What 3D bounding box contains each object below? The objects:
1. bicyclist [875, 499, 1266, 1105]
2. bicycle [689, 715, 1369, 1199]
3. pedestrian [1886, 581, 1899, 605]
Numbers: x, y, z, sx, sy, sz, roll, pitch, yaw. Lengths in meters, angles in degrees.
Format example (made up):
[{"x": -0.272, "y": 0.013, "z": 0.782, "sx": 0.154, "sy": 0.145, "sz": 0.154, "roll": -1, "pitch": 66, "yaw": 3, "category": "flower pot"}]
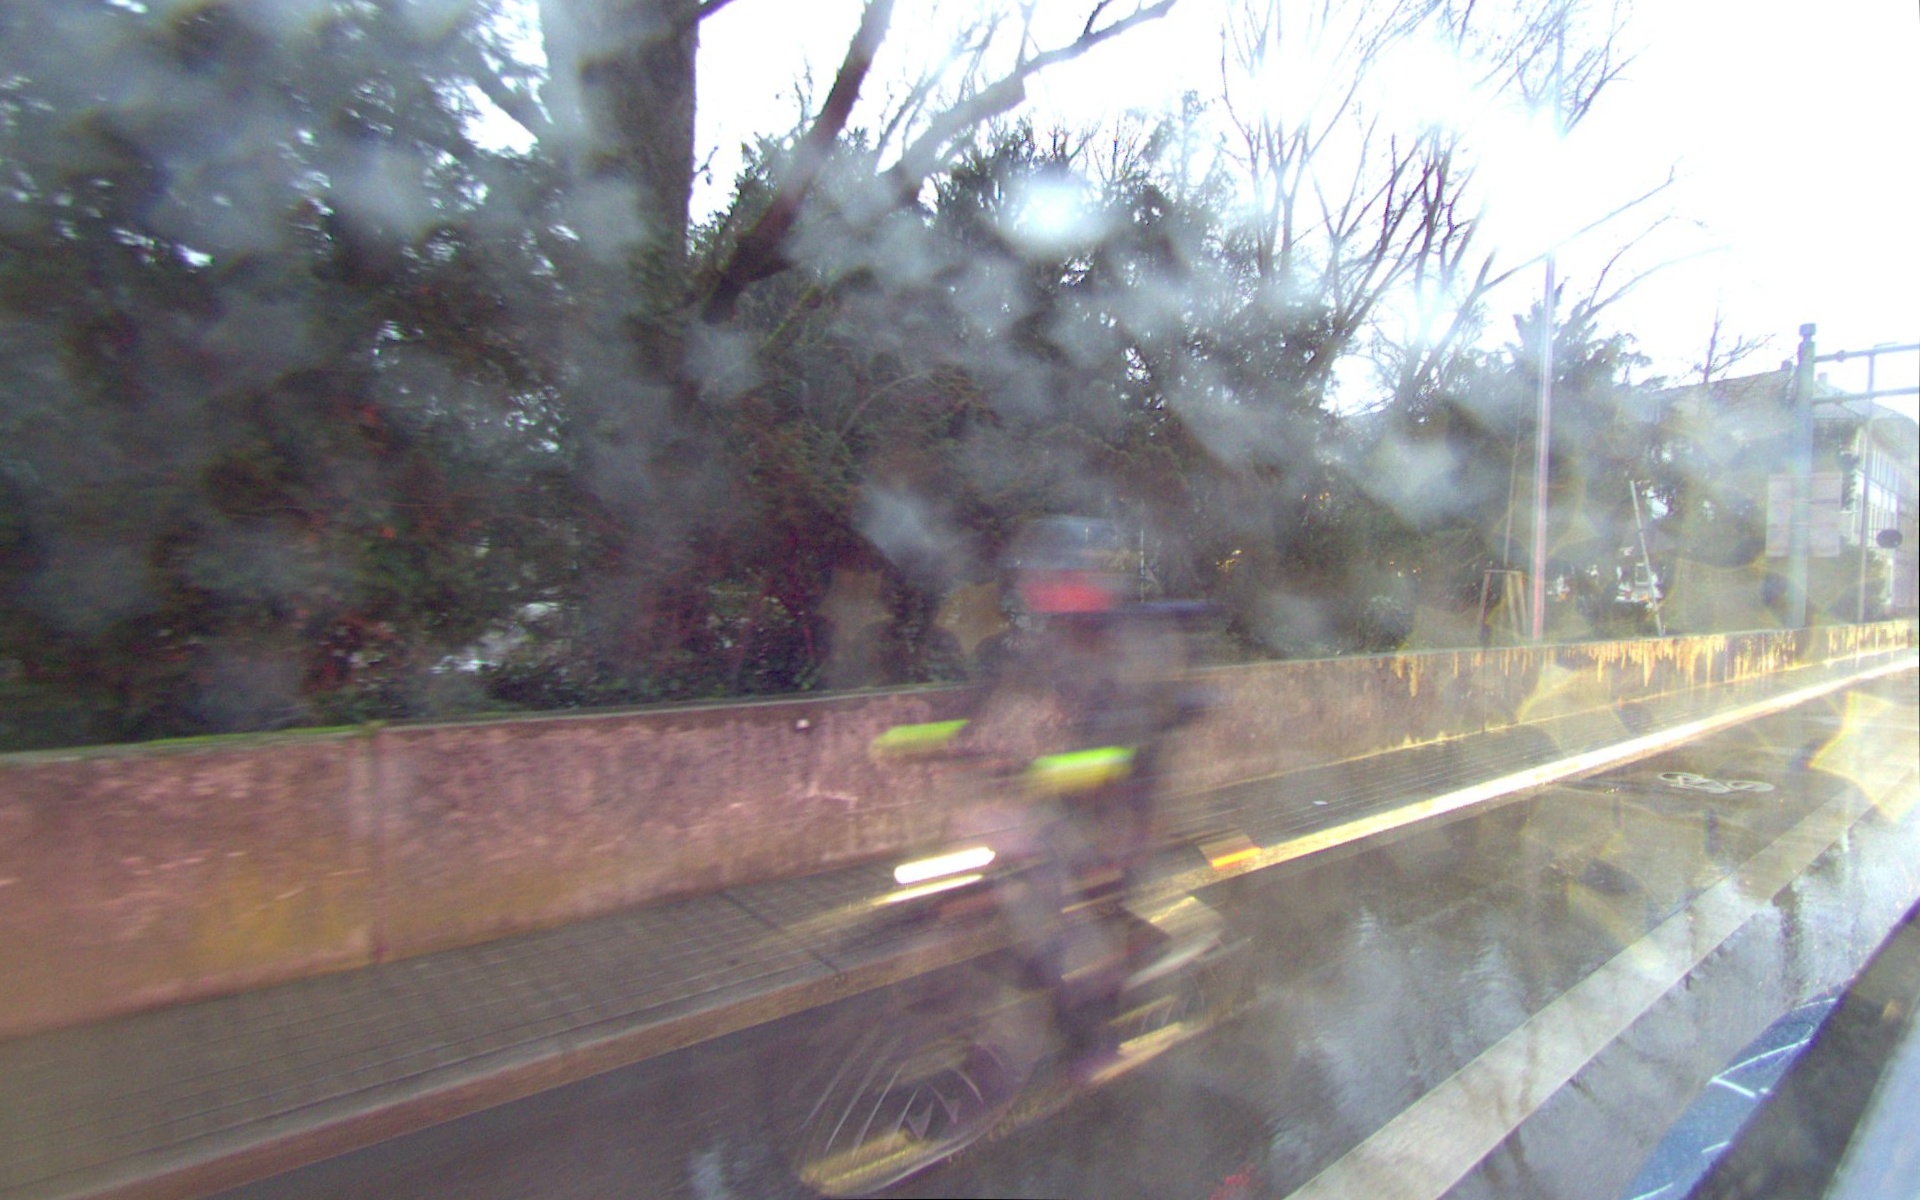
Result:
[{"x": 0.314, "y": 0.460, "z": 2.871, "sx": 0.874, "sy": 1.406, "sz": 0.647, "roll": 0, "pitch": 1, "yaw": -38, "category": "bicyclist"}, {"x": 0.318, "y": 0.927, "z": 2.884, "sx": 2.009, "sy": 0.978, "sz": 0.647, "roll": 0, "pitch": 2, "yaw": -38, "category": "bicycle"}, {"x": 60.684, "y": -0.447, "z": 65.871, "sx": 0.577, "sy": 1.529, "sz": 0.520, "roll": 1, "pitch": 2, "yaw": -41, "category": "pedestrian"}]
